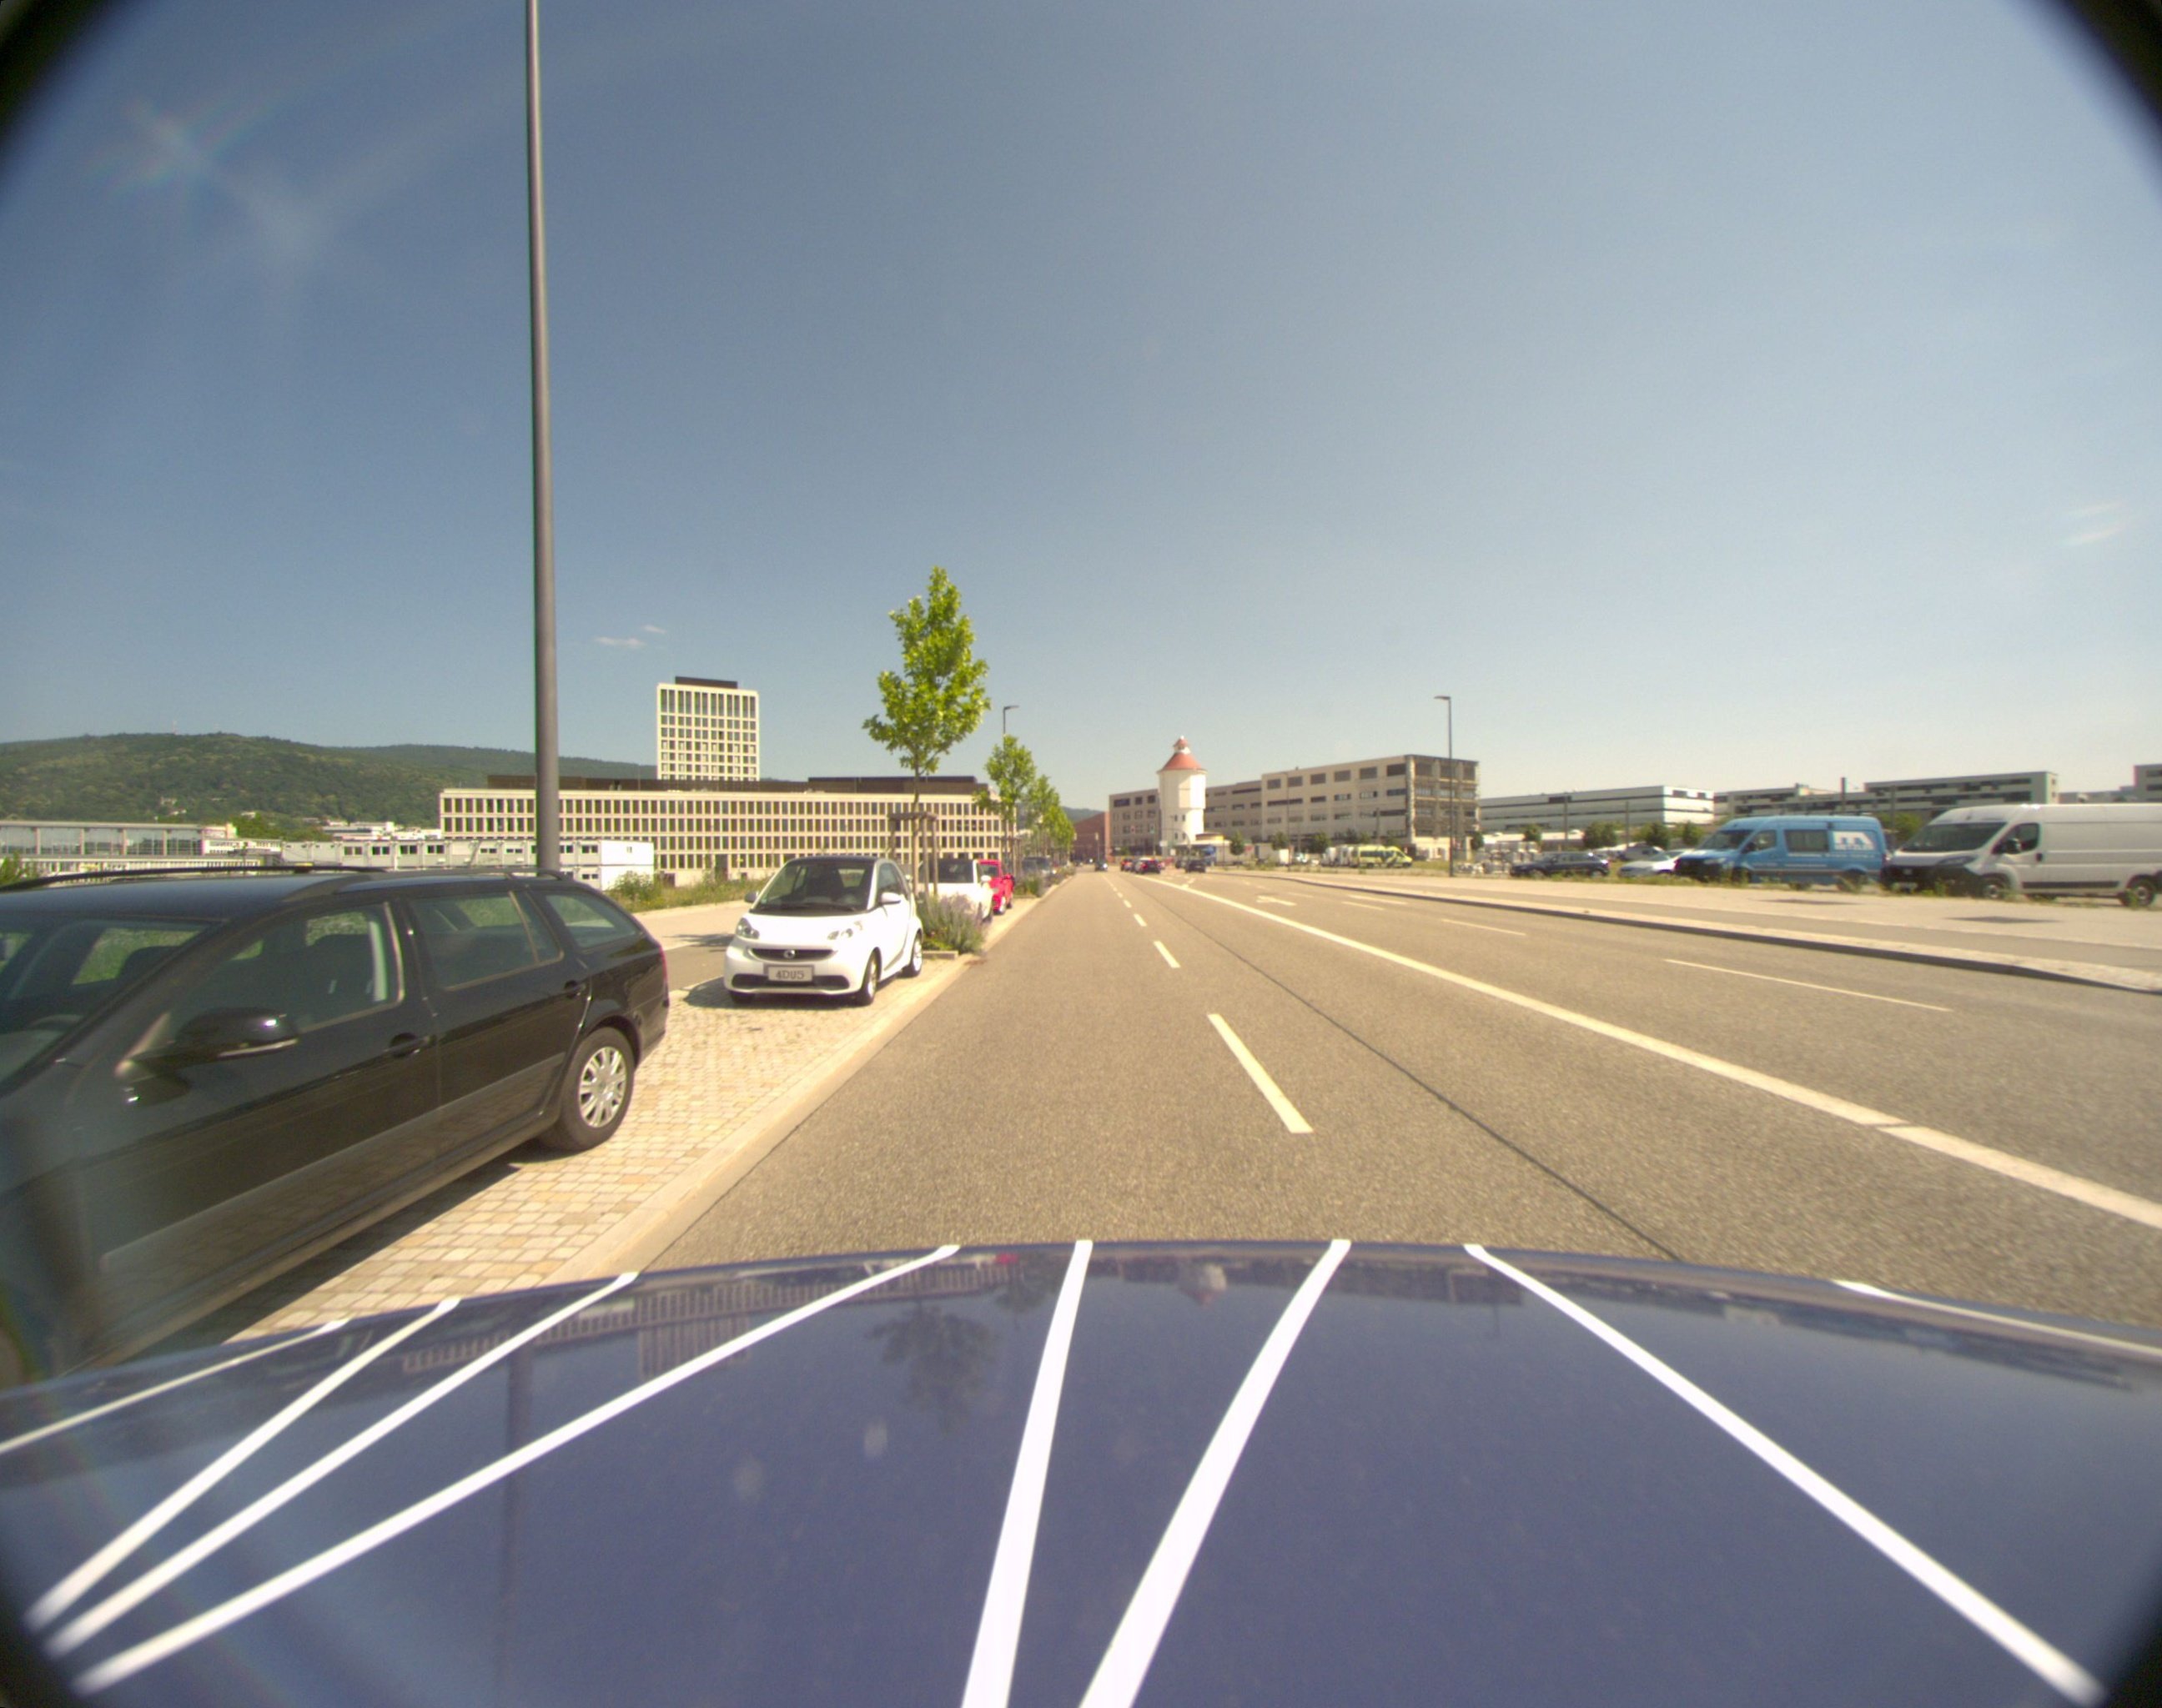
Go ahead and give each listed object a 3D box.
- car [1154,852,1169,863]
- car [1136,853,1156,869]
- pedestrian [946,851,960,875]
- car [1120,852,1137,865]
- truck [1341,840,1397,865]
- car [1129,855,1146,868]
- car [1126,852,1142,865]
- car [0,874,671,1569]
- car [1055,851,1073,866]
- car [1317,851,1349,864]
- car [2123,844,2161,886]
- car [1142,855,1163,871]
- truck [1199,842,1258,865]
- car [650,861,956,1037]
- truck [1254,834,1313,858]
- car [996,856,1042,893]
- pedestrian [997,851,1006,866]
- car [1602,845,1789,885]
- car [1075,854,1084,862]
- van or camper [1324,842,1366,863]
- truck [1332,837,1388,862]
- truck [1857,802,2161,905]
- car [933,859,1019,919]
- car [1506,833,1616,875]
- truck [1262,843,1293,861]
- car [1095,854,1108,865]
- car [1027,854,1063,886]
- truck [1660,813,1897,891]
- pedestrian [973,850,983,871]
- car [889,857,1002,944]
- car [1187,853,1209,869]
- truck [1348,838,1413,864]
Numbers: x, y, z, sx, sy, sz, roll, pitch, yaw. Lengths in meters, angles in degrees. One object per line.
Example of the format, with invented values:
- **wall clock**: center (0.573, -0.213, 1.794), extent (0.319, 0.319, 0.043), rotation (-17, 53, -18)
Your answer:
- **car**: center (12.369, 0.520, 116.826), extent (1.907, 1.487, 4.386), rotation (-1, 0, 0)
- **car**: center (6.917, 0.729, 81.270), extent (1.918, 1.640, 4.730), rotation (-1, 0, 1)
- **pedestrian**: center (-8.890, 0.610, 52.846), extent (0.782, 1.695, 0.742), rotation (0, 1, 1)
- **car**: center (6.592, 0.613, 106.629), extent (1.944, 1.778, 4.654), rotation (-2, 0, -2)
- **truck**: center (35.283, -0.204, 93.272), extent (5.850, 2.808, 2.570), rotation (-3, 1, 0)
- **car**: center (6.798, 0.895, 91.405), extent (1.790, 1.413, 4.282), rotation (-1, 0, 1)
- **car**: center (6.818, 0.609, 98.665), extent (1.783, 1.672, 4.099), rotation (1, -1, 0)
- **car**: center (-3.359, 0.875, 2.484), extent (1.794, 1.468, 4.371), rotation (-1, 0, -2)
- **car**: center (-1.864, 0.501, 84.517), extent (1.877, 1.618, 4.876), rotation (-1, 0, 0)
- **car**: center (35.159, 0.511, 105.951), extent (3.876, 1.748, 1.657), rotation (-2, 0, -3)
- **car**: center (49.803, 0.456, 33.673), extent (2.003, 1.838, 3.991), rotation (-2, 0, -28)
- **car**: center (6.901, 0.853, 74.127), extent (1.791, 1.390, 4.572), rotation (-1, 0, 2)
- **truck**: center (28.860, -0.171, 148.637), extent (10.987, 4.044, 3.297), rotation (-3, 2, -17)
- **car**: center (-2.940, 0.914, 9.160), extent (1.913, 1.568, 4.159), rotation (-1, 0, 4)
- **truck**: center (40.320, -1.630, 151.182), extent (10.951, 4.251, 3.341), rotation (-3, 2, -10)
- **car**: center (-2.598, 0.842, 32.771), extent (1.637, 1.421, 4.240), rotation (-1, 0, 0)
- **pedestrian**: center (-8.473, 0.459, 80.833), extent (0.752, 1.600, 0.949), rotation (2, 0, 1)
- **car**: center (23.878, 0.405, 29.672), extent (5.666, 1.465, 2.106), rotation (-1, 0, -1)
- **car**: center (-0.325, 0.895, 161.013), extent (1.783, 1.552, 3.832), rotation (-1, 0, 2)
- **van or camper**: center (35.569, -0.217, 102.433), extent (4.912, 2.646, 2.260), rotation (-2, 0, 1)
- **truck**: center (36.019, -0.627, 98.168), extent (6.160, 2.885, 2.570), rotation (-3, 2, 2)
- **truck**: center (23.163, -0.011, 18.828), extent (5.581, 2.349, 2.275), rotation (0, 0, -1)
- **car**: center (-2.799, 0.917, 21.100), extent (1.722, 1.442, 4.001), rotation (-2, -1, 1)
- **car**: center (22.664, 0.017, 36.020), extent (3.994, 1.892, 1.829), rotation (0, 0, 8)
- **truck**: center (30.623, -0.319, 118.553), extent (2.174, 2.639, 5.938), rotation (-1, 0, -14)
- **car**: center (3.039, 0.856, 111.454), extent (1.783, 1.552, 3.831), rotation (-1, 0, 0)
- **car**: center (-1.871, 0.829, 40.972), extent (1.739, 1.599, 4.241), rotation (1, 0, 0)
- **truck**: center (23.793, -0.070, 26.126), extent (6.019, 2.528, 2.275), rotation (0, 0, 1)
- **pedestrian**: center (-8.638, 0.563, 63.648), extent (0.733, 1.695, 0.651), rotation (-1, 2, 1)
- **car**: center (-2.784, 0.911, 16.399), extent (1.722, 1.516, 3.641), rotation (1, 2, 1)
- **car**: center (12.537, 0.742, 81.736), extent (1.907, 1.618, 4.387), rotation (-1, 0, 3)
- **truck**: center (35.563, -0.331, 90.305), extent (6.654, 2.809, 2.602), rotation (-2, 0, -2)
